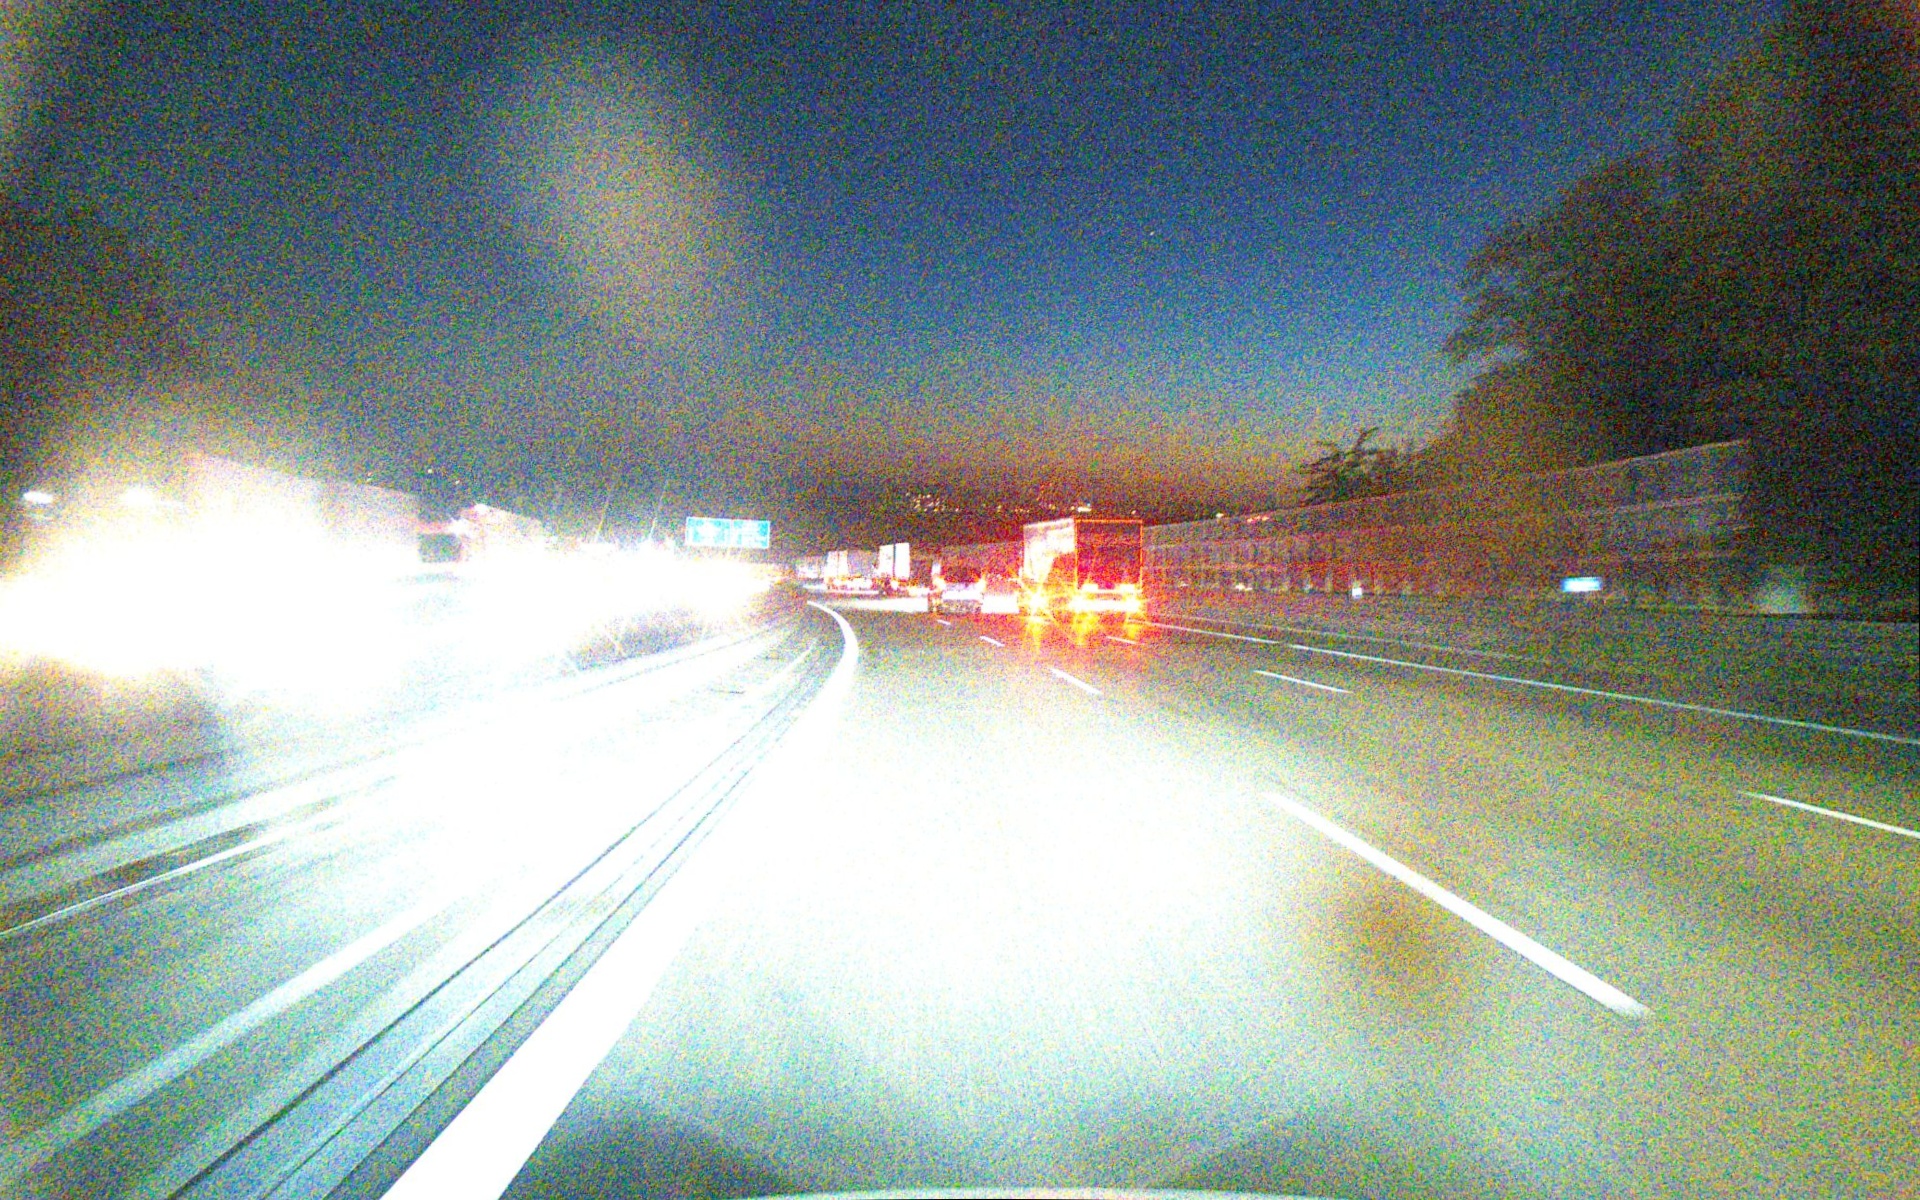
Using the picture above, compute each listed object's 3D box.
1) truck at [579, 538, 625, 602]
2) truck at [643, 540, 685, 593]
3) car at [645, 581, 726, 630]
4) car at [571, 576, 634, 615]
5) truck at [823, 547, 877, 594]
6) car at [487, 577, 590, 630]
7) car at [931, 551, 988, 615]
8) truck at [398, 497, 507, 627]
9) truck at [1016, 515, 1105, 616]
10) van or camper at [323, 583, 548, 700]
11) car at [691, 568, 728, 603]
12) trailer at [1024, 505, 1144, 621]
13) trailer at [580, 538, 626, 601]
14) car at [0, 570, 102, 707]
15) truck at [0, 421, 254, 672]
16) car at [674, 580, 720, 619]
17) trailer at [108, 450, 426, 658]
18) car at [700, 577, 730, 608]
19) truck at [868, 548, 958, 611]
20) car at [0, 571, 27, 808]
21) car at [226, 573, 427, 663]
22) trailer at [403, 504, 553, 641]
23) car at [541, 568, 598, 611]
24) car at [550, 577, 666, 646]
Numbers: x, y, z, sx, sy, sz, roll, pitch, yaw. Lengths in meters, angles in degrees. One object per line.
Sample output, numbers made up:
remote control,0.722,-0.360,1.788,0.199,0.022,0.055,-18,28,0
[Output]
truck,-23.072,-1.951,106.690,2.777,3.984,4.922,-1,1,-11
truck,-25.601,-2.864,143.339,3.050,4.169,7.063,3,-1,-8
car,-8.858,0.160,53.709,1.865,1.518,4.867,0,0,-1
car,-14.428,-0.169,67.013,1.866,1.518,4.862,0,0,-5
truck,-11.667,-3.094,173.783,3.286,4.553,13.865,3,0,-13
car,-12.778,0.104,50.501,1.865,1.518,5.259,0,0,-1
car,-0.050,-0.711,74.299,2.290,2.686,5.244,2,-1,-2
truck,-17.740,-1.287,58.151,2.565,4.344,5.950,0,0,-6
truck,4.253,-1.481,71.834,2.806,4.148,7.503,0,1,-5
van or camper,-7.320,0.529,23.594,1.703,1.491,4.867,0,0,-1
car,-14.214,-0.808,93.958,1.840,1.956,4.861,0,0,-6
trailer,4.715,-1.411,65.844,2.798,4.138,13.193,0,1,-4
trailer,-23.897,-2.049,110.931,2.770,3.985,8.716,-1,1,-11
car,-11.832,0.474,19.080,1.861,1.550,4.344,-2,-1,-5
truck,-15.862,-0.927,31.319,2.809,4.284,6.100,0,0,-5
car,-12.081,0.009,76.174,1.594,1.518,4.863,2,-2,-3
trailer,-16.546,-1.034,41.195,2.819,4.257,14.511,0,1,-4
car,-15.983,-0.471,107.911,1.840,1.956,5.594,0,0,-8
truck,-4.073,-1.532,134.104,3.845,4.708,20.959,0,0,-11
car,-7.058,0.575,8.455,1.865,1.518,4.867,0,0,-1
car,-11.513,0.300,30.456,1.865,1.518,4.936,0,0,-1
trailer,-18.517,-1.012,64.676,2.786,4.541,14.503,-5,1,-6
car,-20.347,-0.511,86.414,1.865,1.920,5.018,2,-2,-2
car,-8.197,0.242,38.958,1.865,1.518,4.865,0,0,-2
